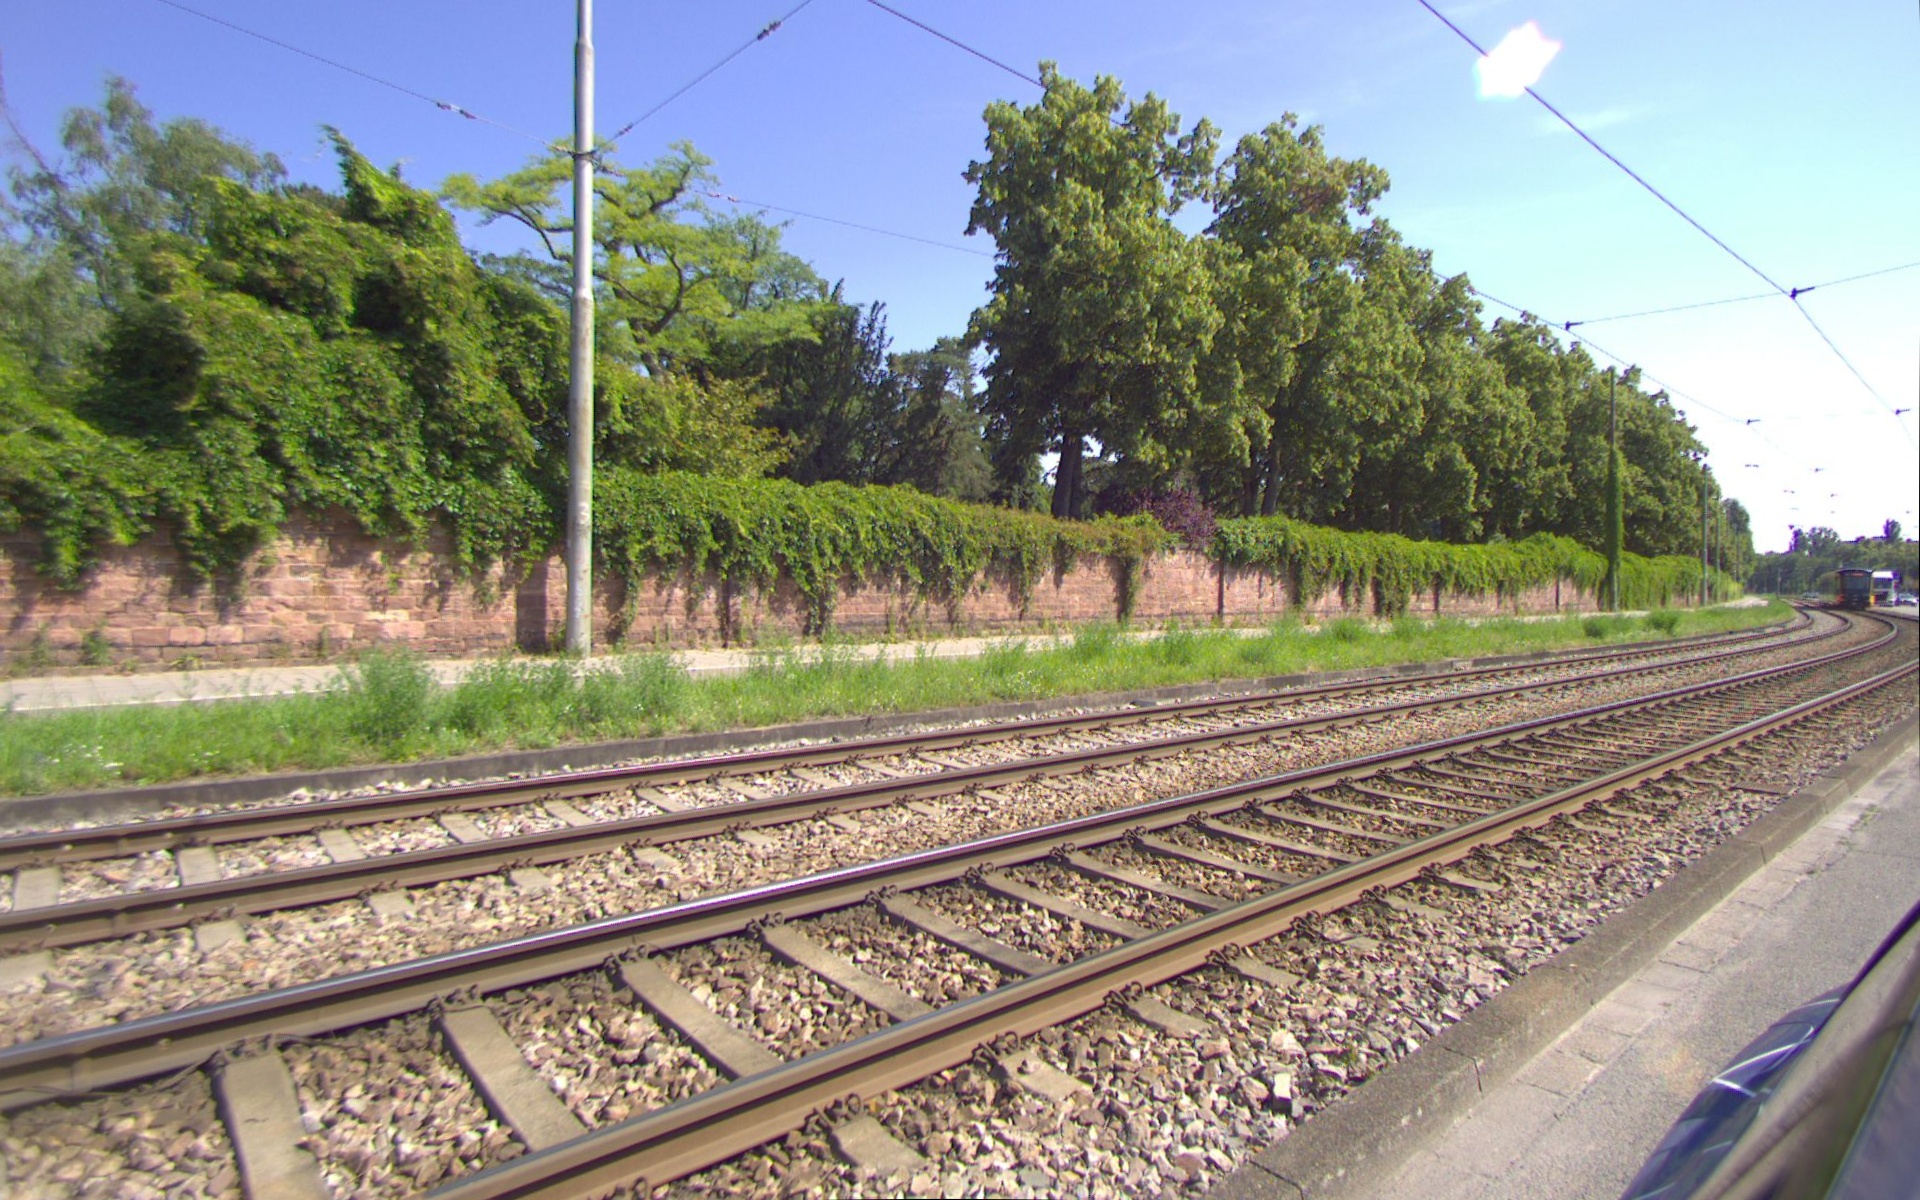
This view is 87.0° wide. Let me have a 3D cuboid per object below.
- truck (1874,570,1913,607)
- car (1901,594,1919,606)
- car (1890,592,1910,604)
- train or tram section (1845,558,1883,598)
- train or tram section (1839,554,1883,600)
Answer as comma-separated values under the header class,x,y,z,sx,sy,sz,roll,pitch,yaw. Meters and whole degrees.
class,x,y,z,sx,sy,sz,roll,pitch,yaw
truck,105.664,-1.360,114.633,2.796,3.998,11.767,2,2,41
car,114.649,-0.005,121.863,1.741,1.448,4.967,0,1,41
car,125.355,-0.214,134.940,1.778,1.567,4.329,0,0,41
train or tram section,92.456,-2.159,103.356,2.712,3.785,18.589,0,1,42
train or tram section,79.961,-1.956,89.657,2.712,3.785,18.589,0,1,42
